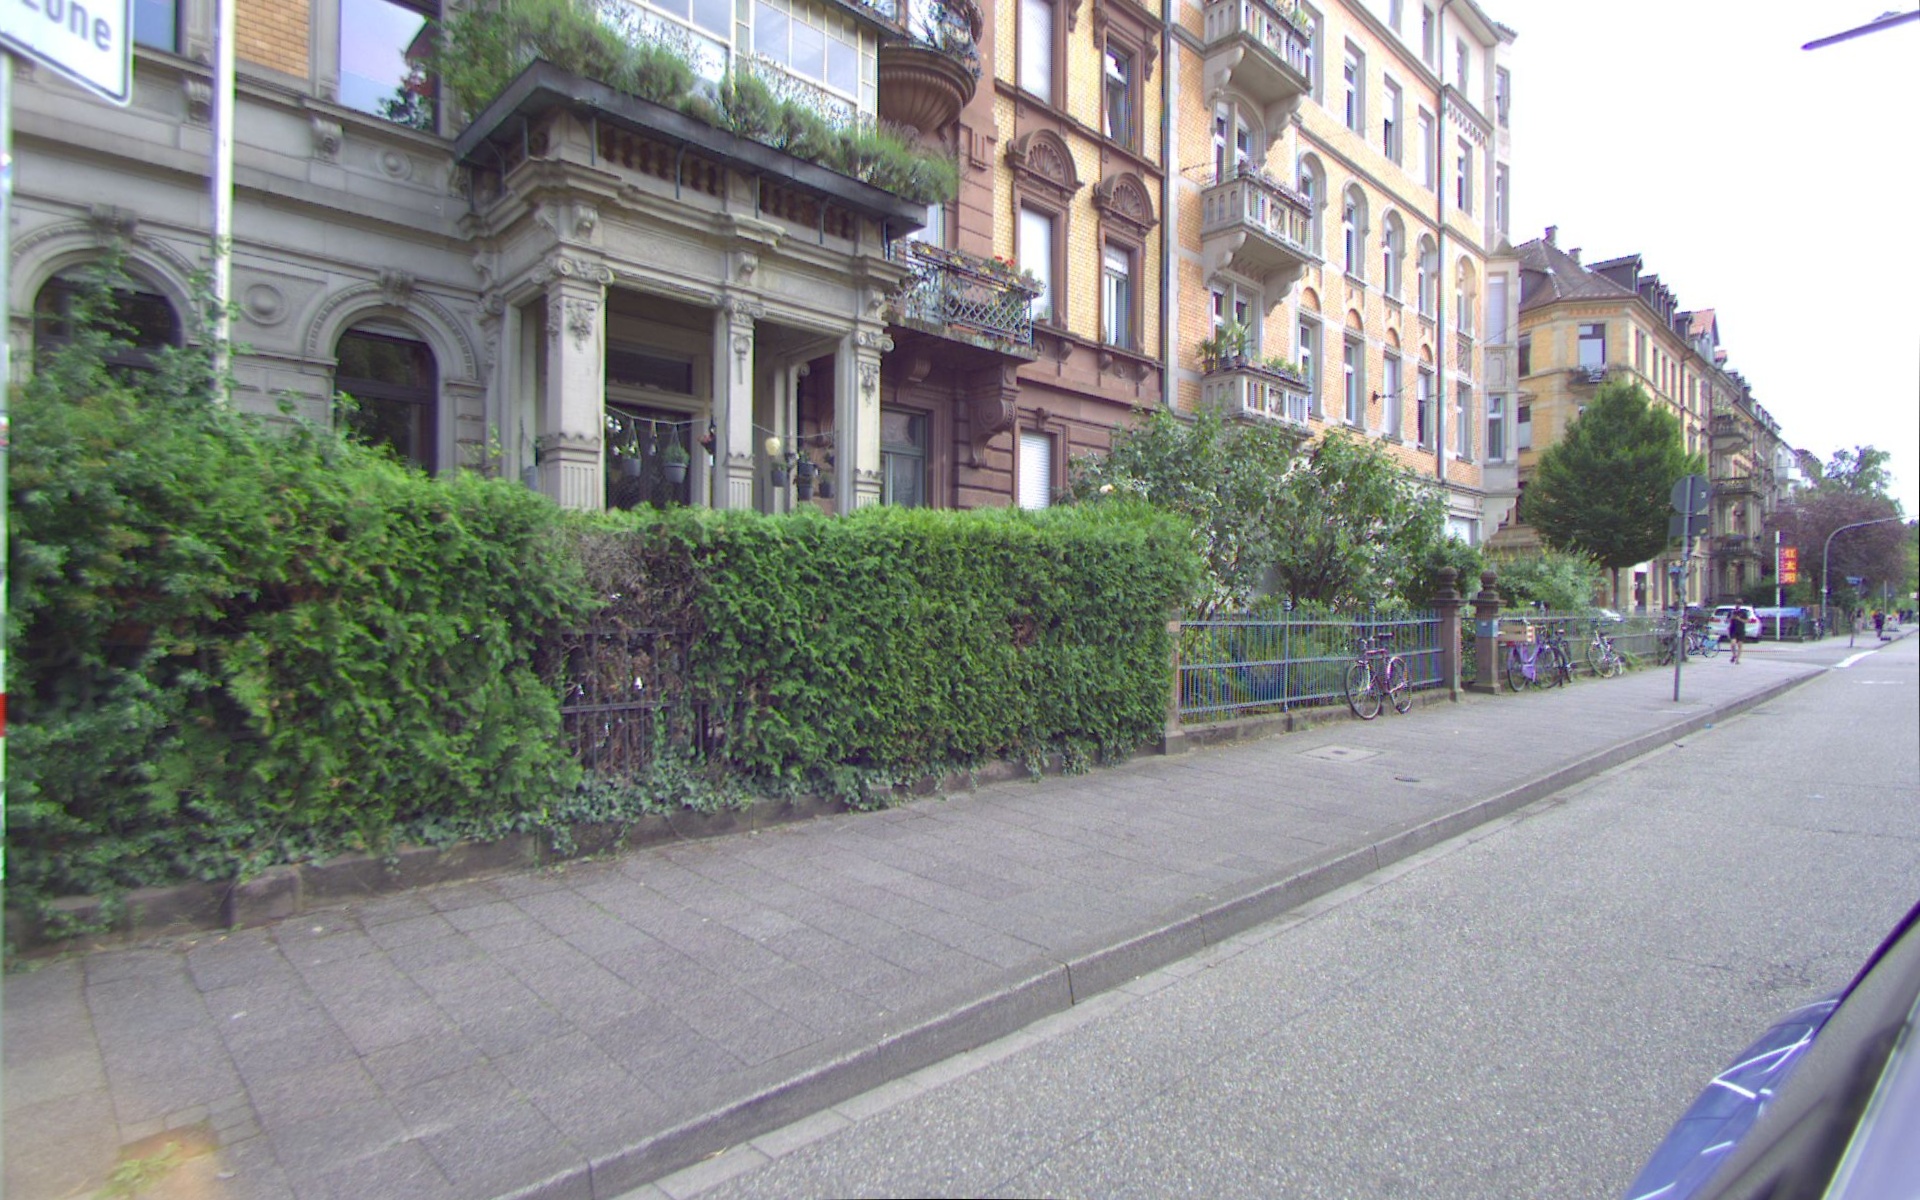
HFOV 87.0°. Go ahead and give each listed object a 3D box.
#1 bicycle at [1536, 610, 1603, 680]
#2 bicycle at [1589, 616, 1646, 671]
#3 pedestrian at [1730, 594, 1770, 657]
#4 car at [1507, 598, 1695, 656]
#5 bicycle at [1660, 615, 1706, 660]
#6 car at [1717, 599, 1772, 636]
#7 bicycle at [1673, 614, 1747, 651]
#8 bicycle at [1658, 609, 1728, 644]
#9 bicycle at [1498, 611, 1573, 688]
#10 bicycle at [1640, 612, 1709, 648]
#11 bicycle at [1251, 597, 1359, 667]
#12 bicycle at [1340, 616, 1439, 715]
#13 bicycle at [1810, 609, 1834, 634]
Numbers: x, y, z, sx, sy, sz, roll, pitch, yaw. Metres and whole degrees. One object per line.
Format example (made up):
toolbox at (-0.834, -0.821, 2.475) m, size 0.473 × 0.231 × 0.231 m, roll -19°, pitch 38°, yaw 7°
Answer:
bicycle at (10.581, 0.753, 17.551) m, size 0.579 × 1.125 × 1.645 m, roll 5°, pitch 3°, yaw 44°
bicycle at (13.077, 0.838, 20.113) m, size 0.579 × 0.995 × 1.645 m, roll 5°, pitch 3°, yaw 44°
pedestrian at (20.771, 0.657, 26.608) m, size 0.821 × 1.644 × 0.731 m, roll 1°, pitch -1°, yaw -44°
car at (18.313, 0.738, 29.069) m, size 1.673 × 1.526 × 4.290 m, roll 1°, pitch -1°, yaw -43°
bicycle at (17.247, 0.875, 24.133) m, size 0.579 × 0.995 × 1.645 m, roll 5°, pitch 3°, yaw 44°
car at (34.507, 0.723, 44.496) m, size 1.749 × 1.545 × 3.942 m, roll 0°, pitch 0°, yaw 40°
bicycle at (23.197, 0.995, 31.311) m, size 1.838 × 1.127 × 0.631 m, roll 0°, pitch 0°, yaw -1°
bicycle at (24.833, 0.886, 34.327) m, size 0.522 × 1.142 × 1.896 m, roll 0°, pitch 0°, yaw -27°
bicycle at (9.210, 0.766, 16.175) m, size 0.579 × 1.125 × 1.645 m, roll 5°, pitch 3°, yaw 44°
bicycle at (23.869, 0.999, 33.830) m, size 0.521 × 1.142 × 1.897 m, roll 0°, pitch 0°, yaw -22°
bicycle at (5.906, 0.528, 17.372) m, size 1.667 × 1.126 × 0.602 m, roll 1°, pitch 0°, yaw 45°
bicycle at (5.355, 0.774, 12.582) m, size 0.579 × 1.126 × 1.645 m, roll 0°, pitch 0°, yaw 44°
bicycle at (40.063, 0.979, 47.026) m, size 1.843 × 1.127 × 0.629 m, roll 0°, pitch 0°, yaw -44°
